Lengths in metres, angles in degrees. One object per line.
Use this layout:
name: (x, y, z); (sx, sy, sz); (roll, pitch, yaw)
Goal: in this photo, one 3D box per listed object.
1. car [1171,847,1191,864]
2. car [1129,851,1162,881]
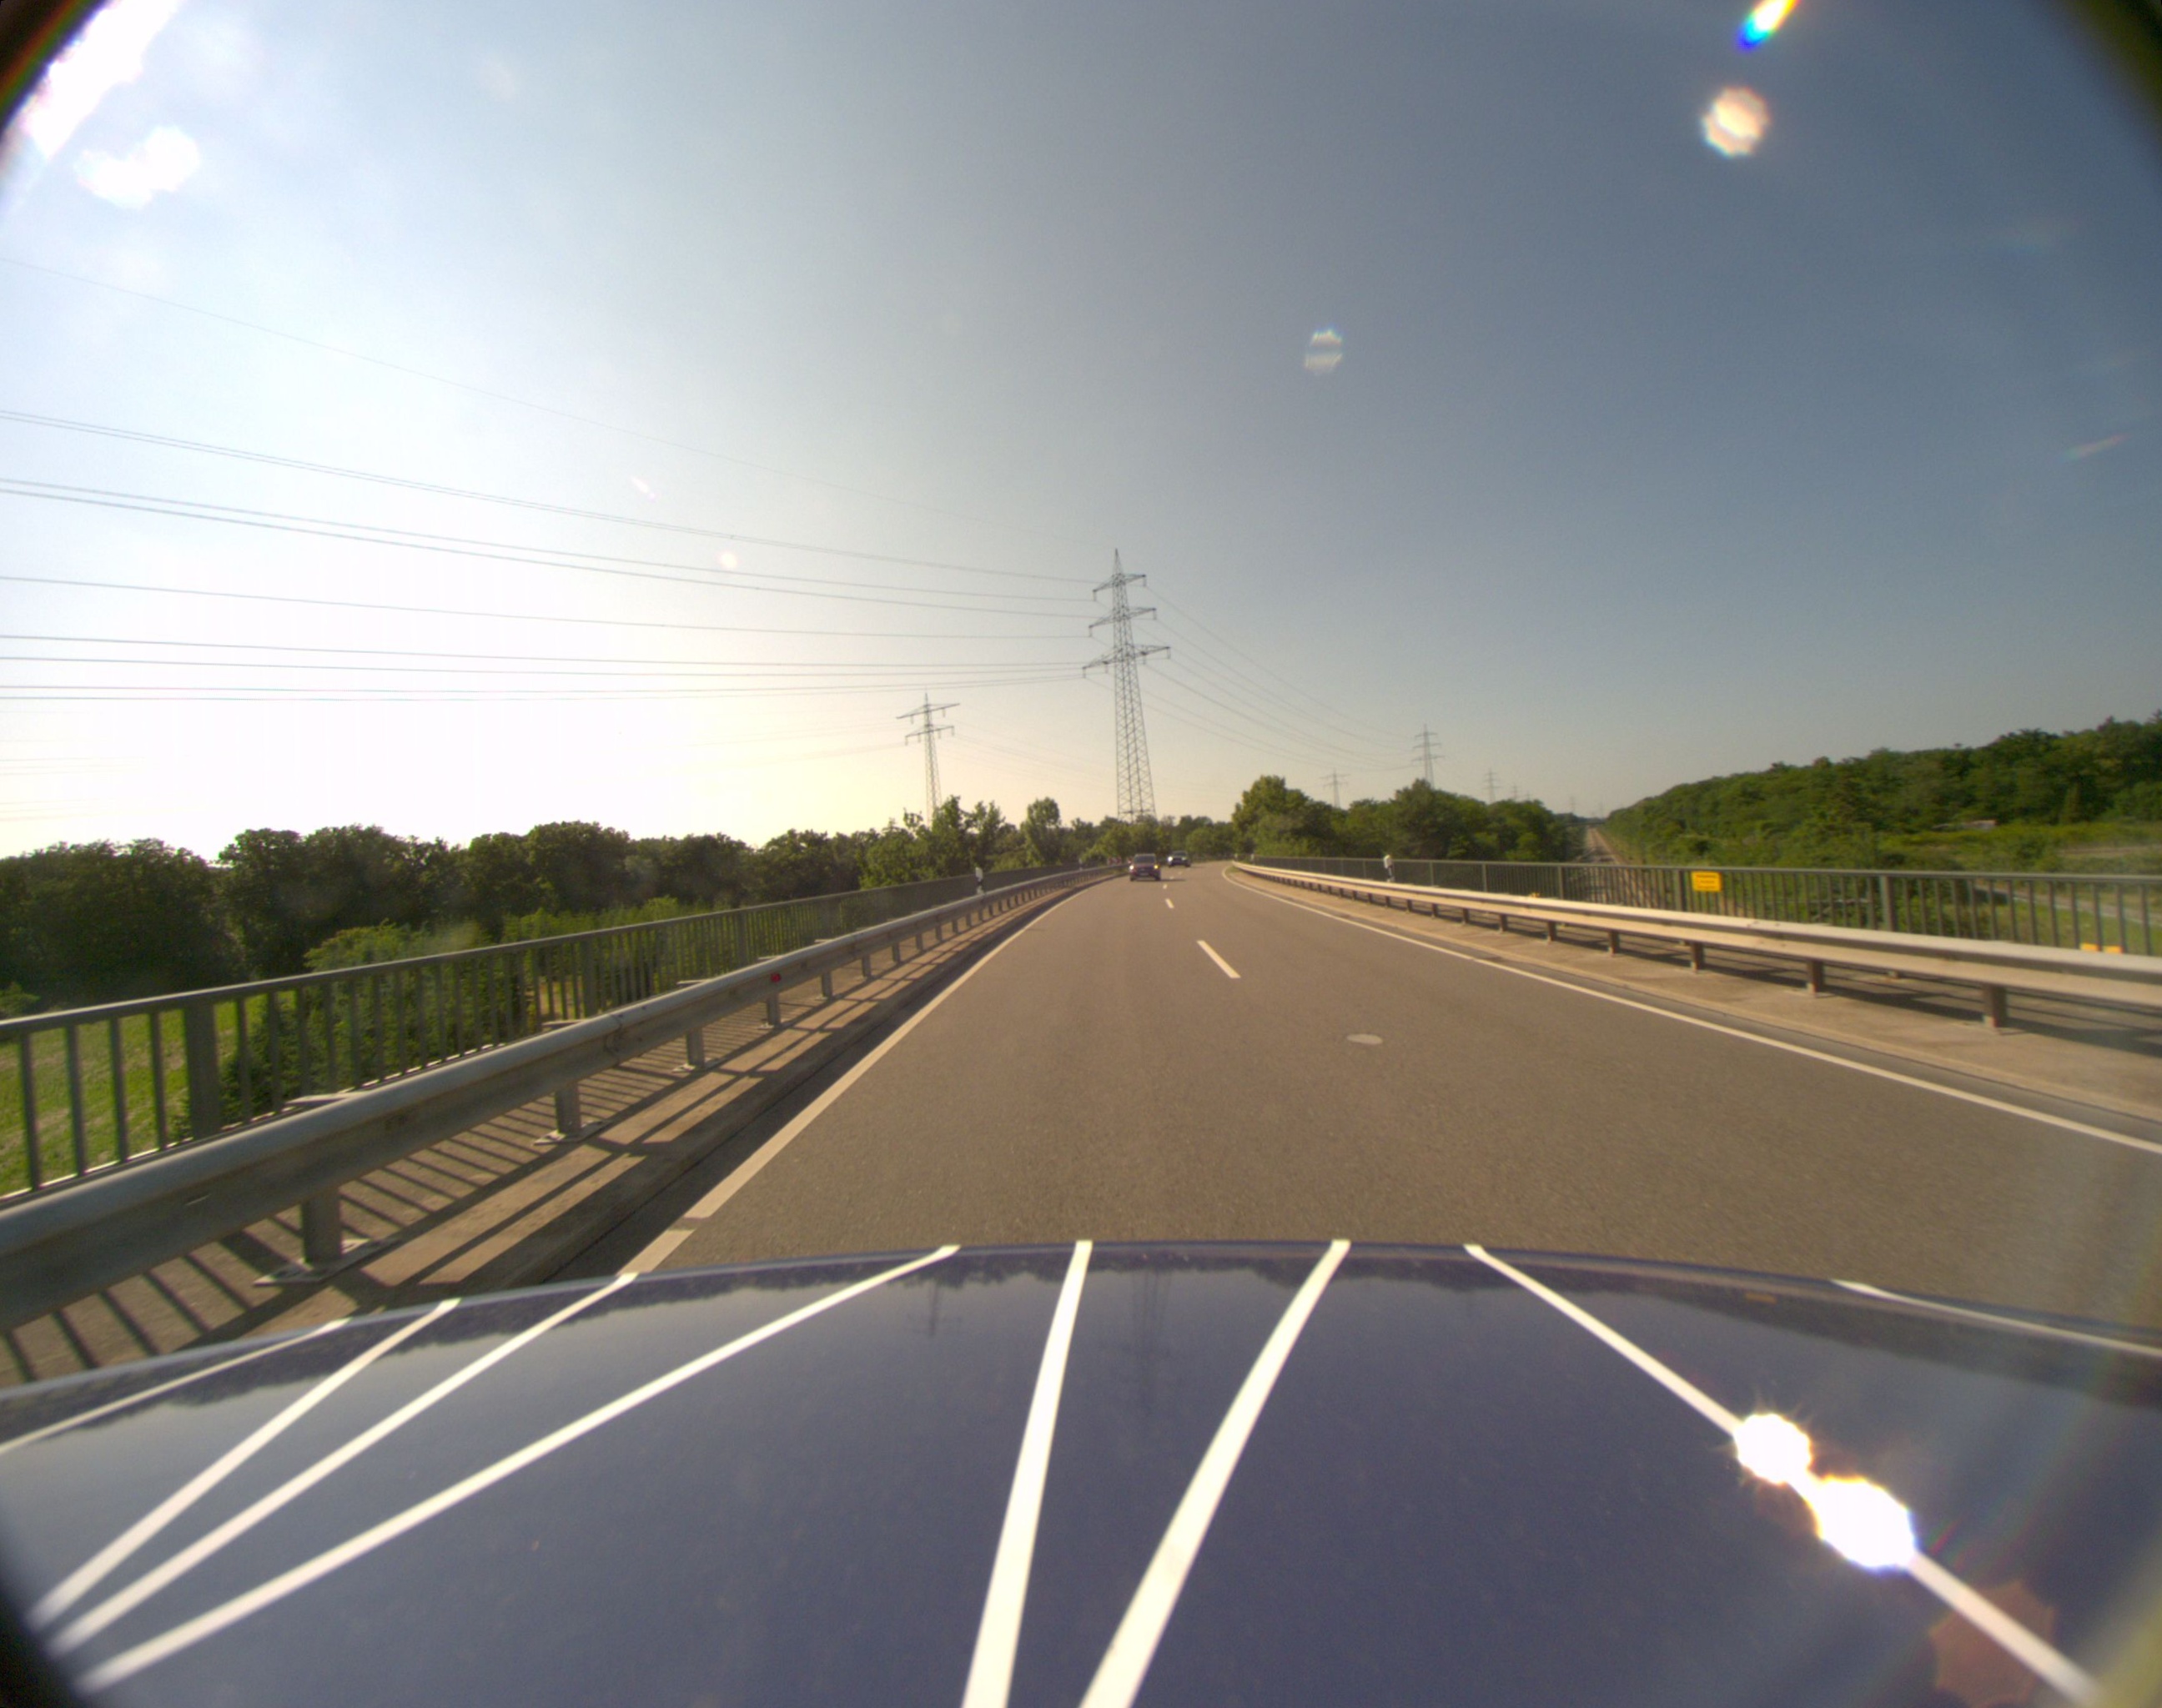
car: (10.179, 0.156, 77.439); (1.605, 1.486, 4.003); (-2, 1, 13)
car: (3.728, 0.672, 43.634); (1.606, 1.486, 4.001); (-2, 1, 8)
